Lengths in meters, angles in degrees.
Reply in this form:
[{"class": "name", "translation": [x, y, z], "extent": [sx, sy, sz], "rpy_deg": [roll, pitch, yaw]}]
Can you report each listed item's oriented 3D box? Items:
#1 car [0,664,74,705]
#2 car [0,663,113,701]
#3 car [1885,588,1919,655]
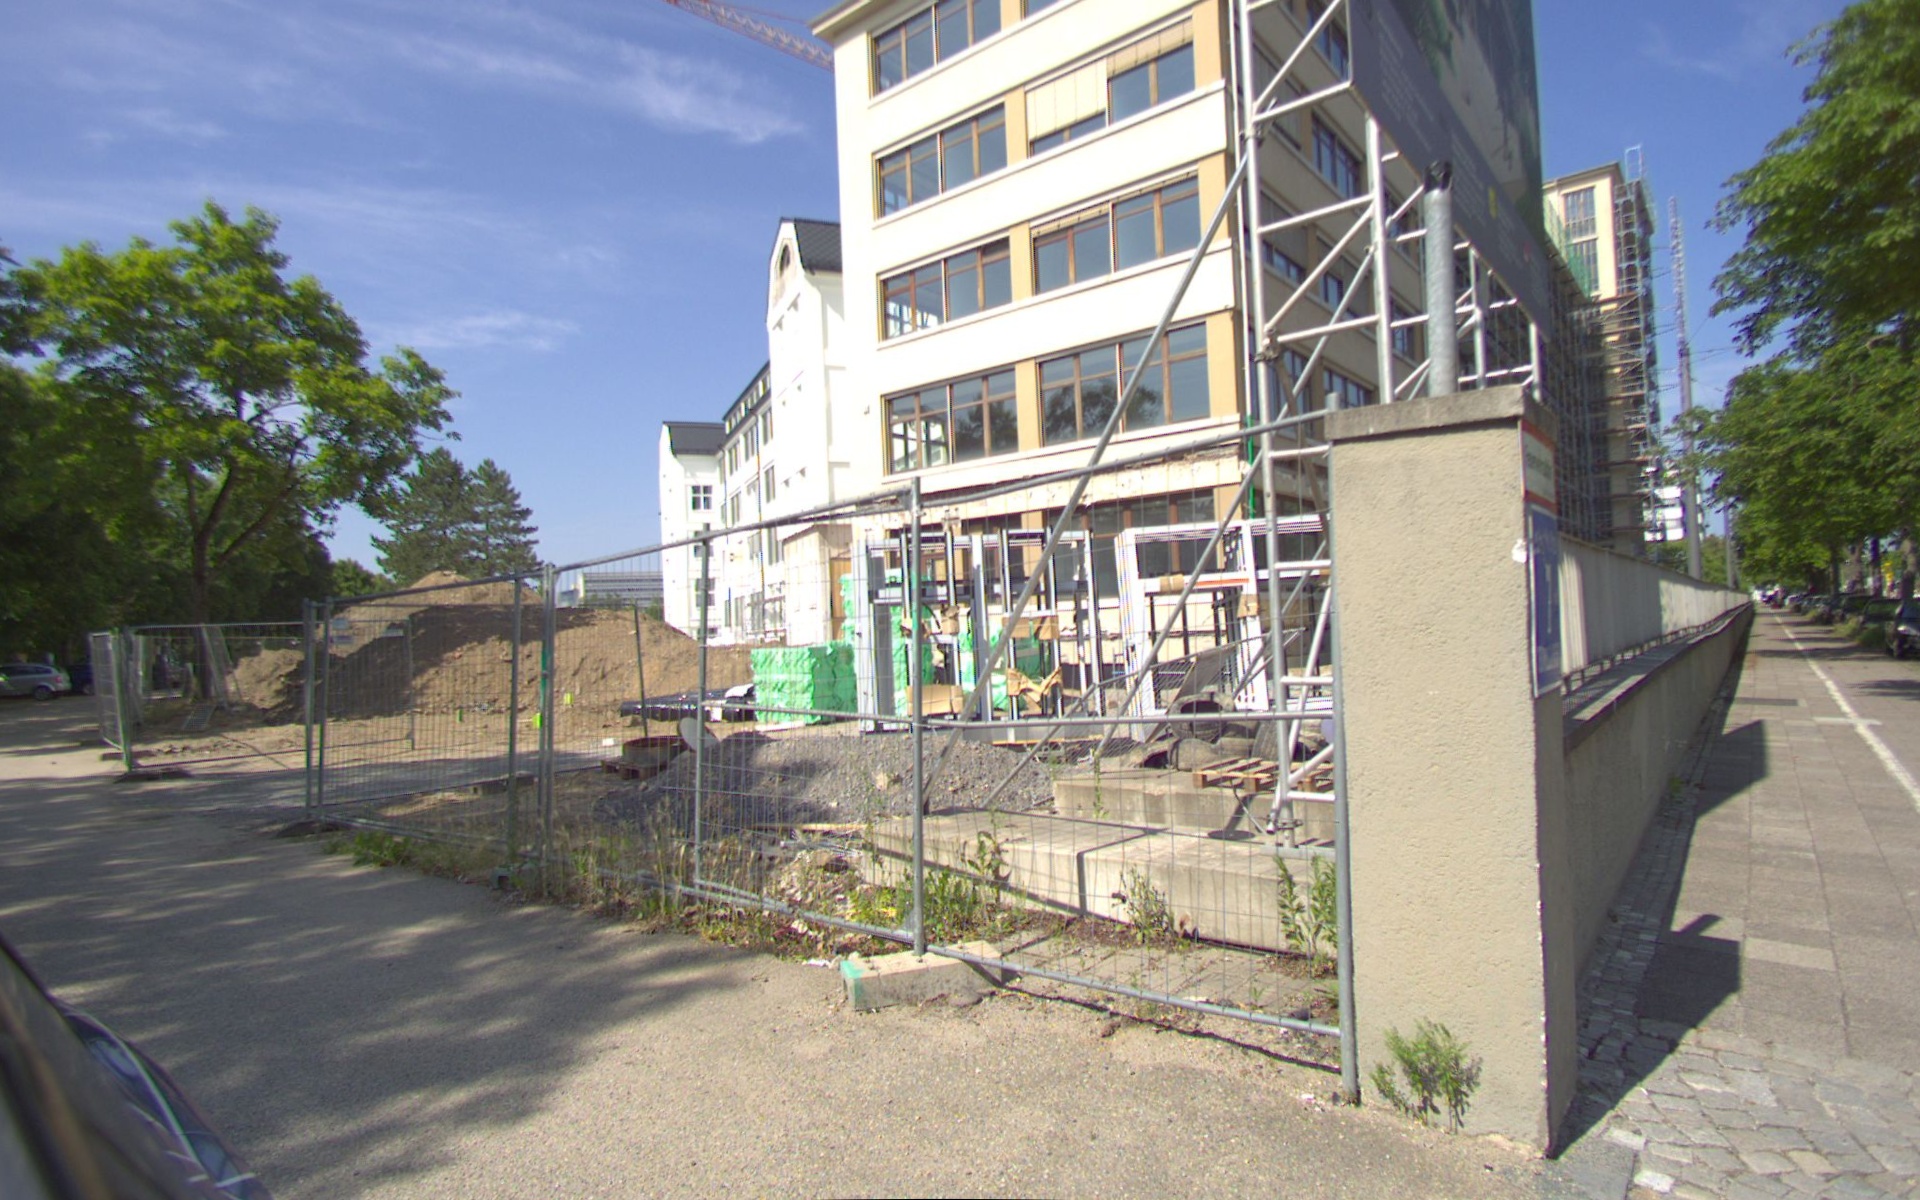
[{"class": "car", "translation": [-38.269, 3.421, 40.503], "extent": [3.932, 1.519, 2.006], "rpy_deg": [-1, -2, -31]}, {"class": "car", "translation": [-40.667, 3.664, 45.281], "extent": [3.932, 1.453, 2.006], "rpy_deg": [-1, -2, -31]}, {"class": "car", "translation": [22.677, 0.428, 23.177], "extent": [1.819, 1.464, 3.949], "rpy_deg": [-4, -2, 38]}]
